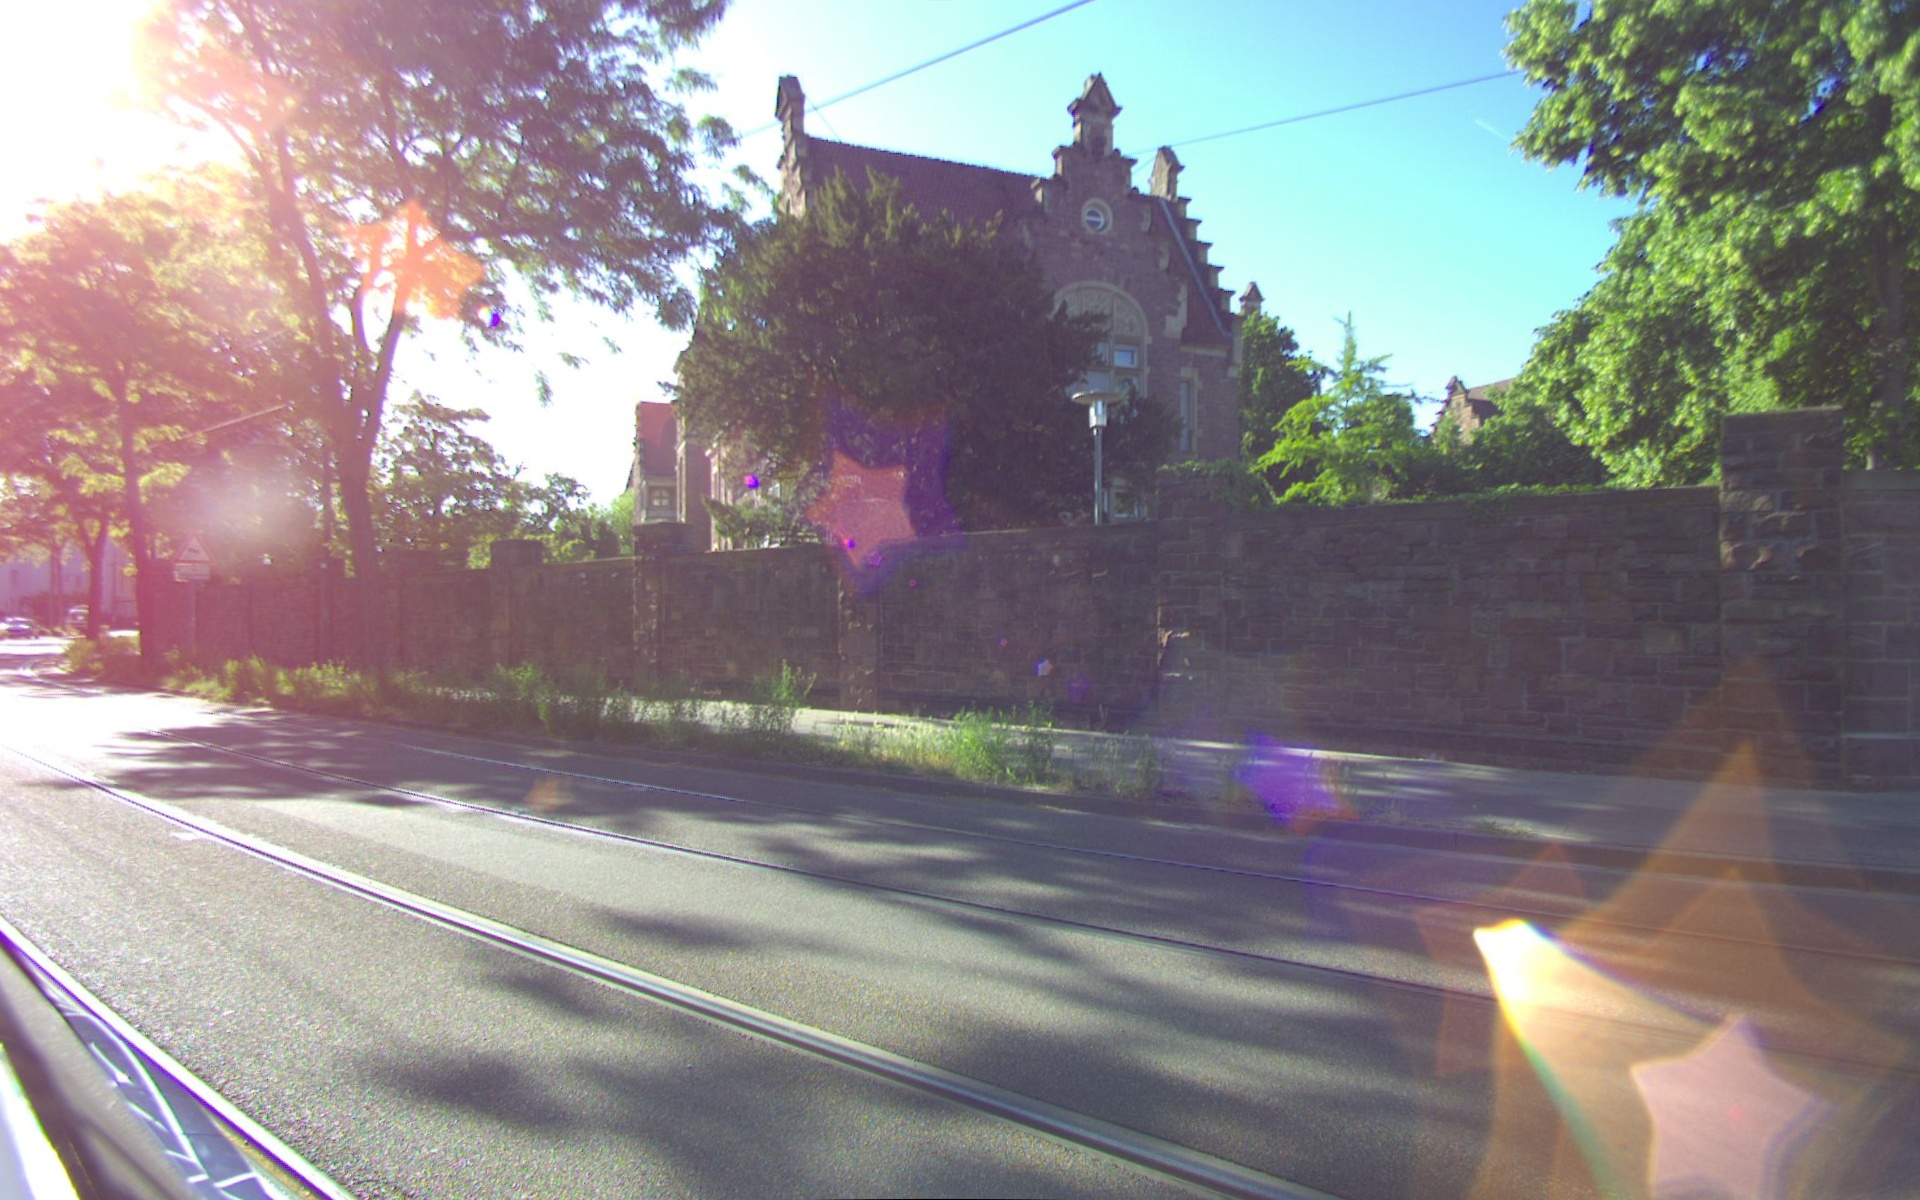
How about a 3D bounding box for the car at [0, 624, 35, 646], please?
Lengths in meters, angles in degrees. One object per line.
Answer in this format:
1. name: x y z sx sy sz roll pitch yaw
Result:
1. car: -68.900 2.524 73.832 1.969 1.560 4.005 0 -1 -41
